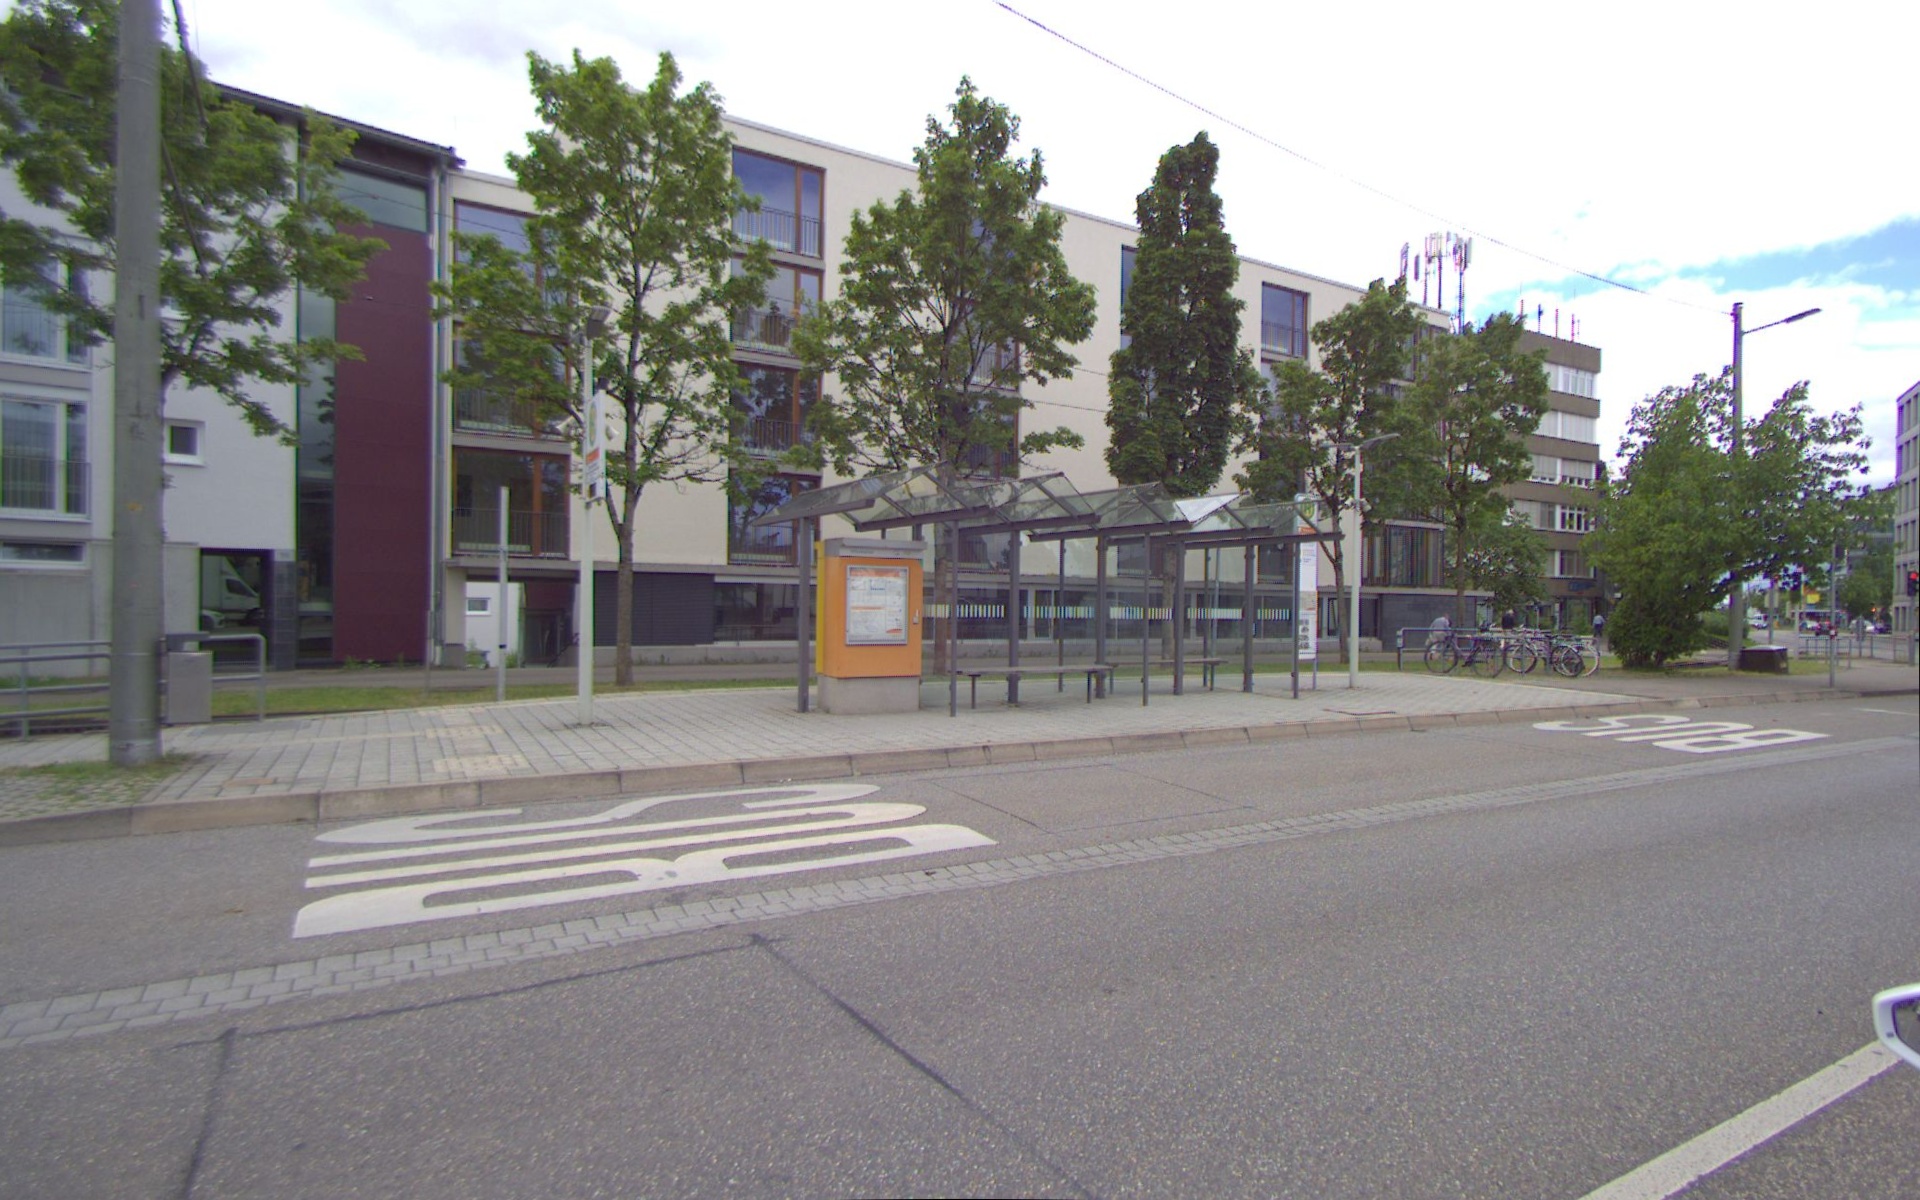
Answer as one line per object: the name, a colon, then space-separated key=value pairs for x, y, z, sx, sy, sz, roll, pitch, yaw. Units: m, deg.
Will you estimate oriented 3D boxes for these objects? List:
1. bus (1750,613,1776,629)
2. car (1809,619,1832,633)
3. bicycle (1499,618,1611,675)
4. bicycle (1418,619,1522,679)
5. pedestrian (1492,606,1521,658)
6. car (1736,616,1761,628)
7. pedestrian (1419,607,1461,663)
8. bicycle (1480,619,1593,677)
bus: x=157.623 y=4.071 z=197.172 sx=3.040 sy=2.968 sz=10.311 roll=2 pitch=1 yaw=34
car: x=92.406 y=2.767 z=107.871 sx=1.878 sy=1.506 sz=3.979 roll=0 pitch=-1 yaw=41
bicycle: x=13.084 y=0.998 z=22.154 sx=0.624 sy=1.121 sz=2.089 roll=1 pitch=1 yaw=-29
bicycle: x=10.512 y=0.983 z=20.777 sx=0.580 sy=1.121 sz=1.920 roll=1 pitch=1 yaw=-29
pedestrian: x=22.012 y=1.275 z=40.469 sx=0.758 sy=2.041 sz=0.886 roll=4 pitch=2 yaw=41
car: x=114.619 y=3.177 z=146.031 sx=1.822 sy=1.718 sz=3.998 roll=1 pitch=-1 yaw=23
pedestrian: x=15.975 y=1.165 z=33.442 sx=0.896 sy=1.788 sz=0.826 roll=2 pitch=2 yaw=-30
bicycle: x=12.463 y=1.013 z=21.798 sx=0.624 sy=1.121 sz=2.089 roll=1 pitch=1 yaw=-29
